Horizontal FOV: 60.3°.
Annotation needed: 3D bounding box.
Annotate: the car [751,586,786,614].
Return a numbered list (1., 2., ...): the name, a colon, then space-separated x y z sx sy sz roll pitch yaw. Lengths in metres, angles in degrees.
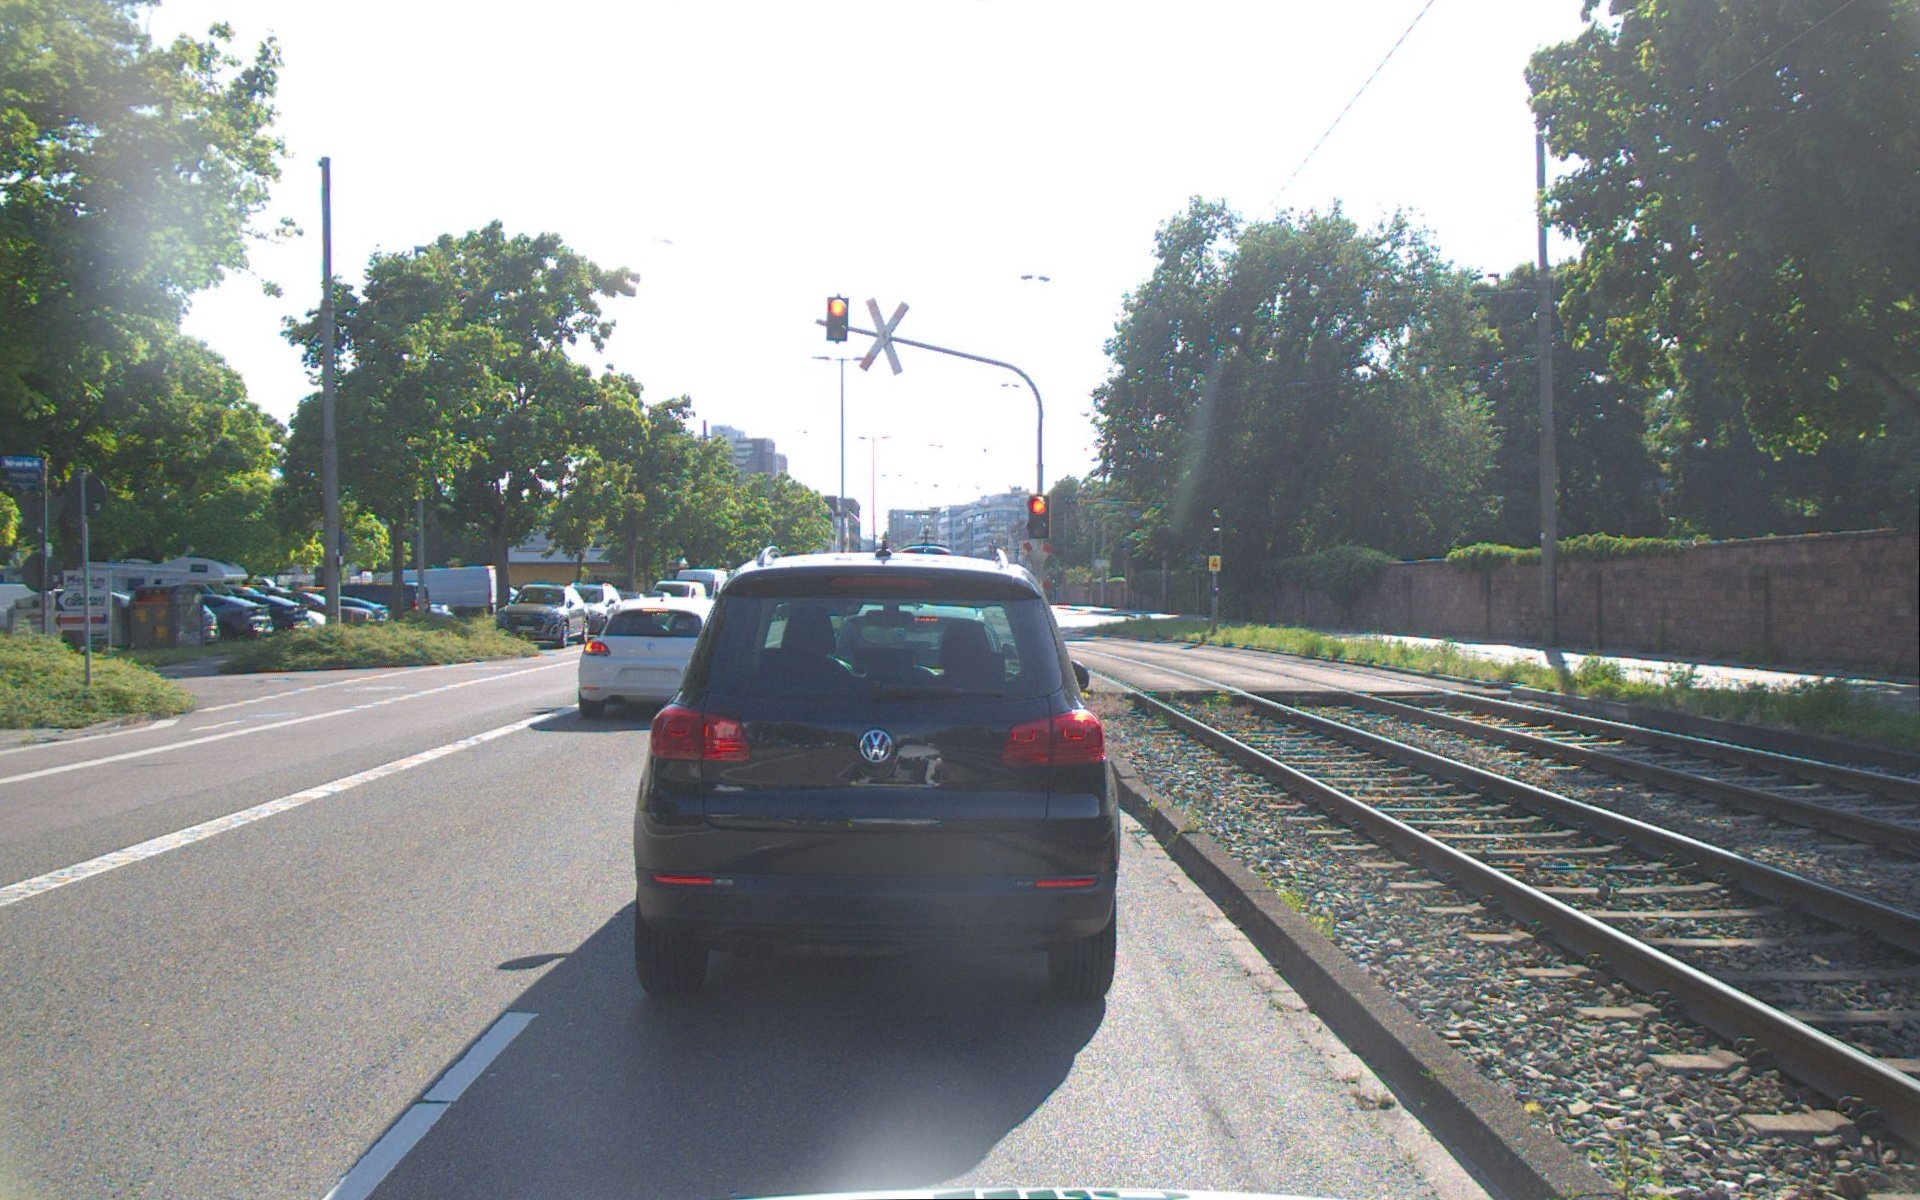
1. car: -12.265 -0.037 106.037 1.696 1.724 4.000 0 1 0

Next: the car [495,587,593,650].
1. car: -11.635 0.478 46.480 1.696 1.686 4.000 0 0 0

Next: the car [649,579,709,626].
1. car: -11.779 0.073 69.511 1.696 1.892 4.489 0 0 0

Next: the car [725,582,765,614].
1. car: -12.295 -0.131 94.652 1.696 1.724 4.000 0 1 0

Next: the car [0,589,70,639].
1. car: -33.939 0.497 58.581 3.912 1.758 1.624 -1 0 -8

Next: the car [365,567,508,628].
1. car: -21.849 -0.118 69.157 5.266 2.466 2.087 -1 0 -1

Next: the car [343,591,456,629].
1. car: -22.196 0.379 65.637 3.908 1.422 1.736 -1 0 -4

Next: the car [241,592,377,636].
1. car: -21.908 0.448 55.755 3.908 1.422 1.736 -1 0 -4

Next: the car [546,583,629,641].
1. car: -11.773 0.343 52.507 1.696 1.724 4.000 0 1 0

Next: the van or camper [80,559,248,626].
1. van or camper: -35.316 -0.331 73.540 6.332 2.918 2.307 0 0 -1

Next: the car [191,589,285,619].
1. car: -35.712 0.186 81.873 3.908 1.422 1.736 -1 0 -4

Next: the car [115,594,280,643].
1. car: -21.921 0.524 47.663 3.908 1.330 1.736 -1 0 -4

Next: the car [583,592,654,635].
1. car: -11.999 0.450 58.305 1.696 1.413 3.735 0 1 0

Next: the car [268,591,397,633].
1. car: -22.227 0.427 58.688 3.908 1.422 1.736 -1 0 -4

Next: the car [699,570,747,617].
1. car: -11.876 -0.336 83.012 1.696 2.308 4.645 0 0 0

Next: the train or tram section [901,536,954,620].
1. train or tram section: -1.501 -1.007 77.117 2.279 3.632 8.898 0 0 -1

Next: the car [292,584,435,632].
1. car: -21.991 0.284 61.110 4.526 1.680 2.048 -1 0 -3

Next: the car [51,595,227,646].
1. car: -22.400 0.549 45.242 3.908 1.330 1.736 -1 0 -4

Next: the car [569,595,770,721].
1. car: -3.458 0.644 20.388 1.827 1.371 3.999 0 0 -1

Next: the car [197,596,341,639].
1. car: -22.325 0.555 53.533 3.908 1.330 1.736 -1 0 -4

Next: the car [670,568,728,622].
1. car: -11.962 -0.248 76.182 1.825 2.388 4.985 0 0 0

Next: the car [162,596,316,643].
1. car: -21.859 0.577 50.279 3.908 1.330 1.736 -1 0 -4

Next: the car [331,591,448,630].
1. car: -21.895 0.399 63.615 3.908 1.422 1.736 -1 0 -4

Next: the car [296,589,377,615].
1. car: -35.334 0.102 93.797 3.908 1.422 1.736 -1 0 -4

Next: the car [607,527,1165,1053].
1. car: -0.262 0.611 7.314 1.774 1.673 3.999 1 0 -1

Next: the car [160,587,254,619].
1. car: -34.900 0.123 76.717 3.591 1.422 1.736 -1 0 -4

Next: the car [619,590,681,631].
1. car: -11.995 0.388 64.188 1.696 1.475 3.735 0 1 0

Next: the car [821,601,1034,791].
1. car: -0.279 0.742 14.773 1.635 1.411 3.999 -1 0 -1
